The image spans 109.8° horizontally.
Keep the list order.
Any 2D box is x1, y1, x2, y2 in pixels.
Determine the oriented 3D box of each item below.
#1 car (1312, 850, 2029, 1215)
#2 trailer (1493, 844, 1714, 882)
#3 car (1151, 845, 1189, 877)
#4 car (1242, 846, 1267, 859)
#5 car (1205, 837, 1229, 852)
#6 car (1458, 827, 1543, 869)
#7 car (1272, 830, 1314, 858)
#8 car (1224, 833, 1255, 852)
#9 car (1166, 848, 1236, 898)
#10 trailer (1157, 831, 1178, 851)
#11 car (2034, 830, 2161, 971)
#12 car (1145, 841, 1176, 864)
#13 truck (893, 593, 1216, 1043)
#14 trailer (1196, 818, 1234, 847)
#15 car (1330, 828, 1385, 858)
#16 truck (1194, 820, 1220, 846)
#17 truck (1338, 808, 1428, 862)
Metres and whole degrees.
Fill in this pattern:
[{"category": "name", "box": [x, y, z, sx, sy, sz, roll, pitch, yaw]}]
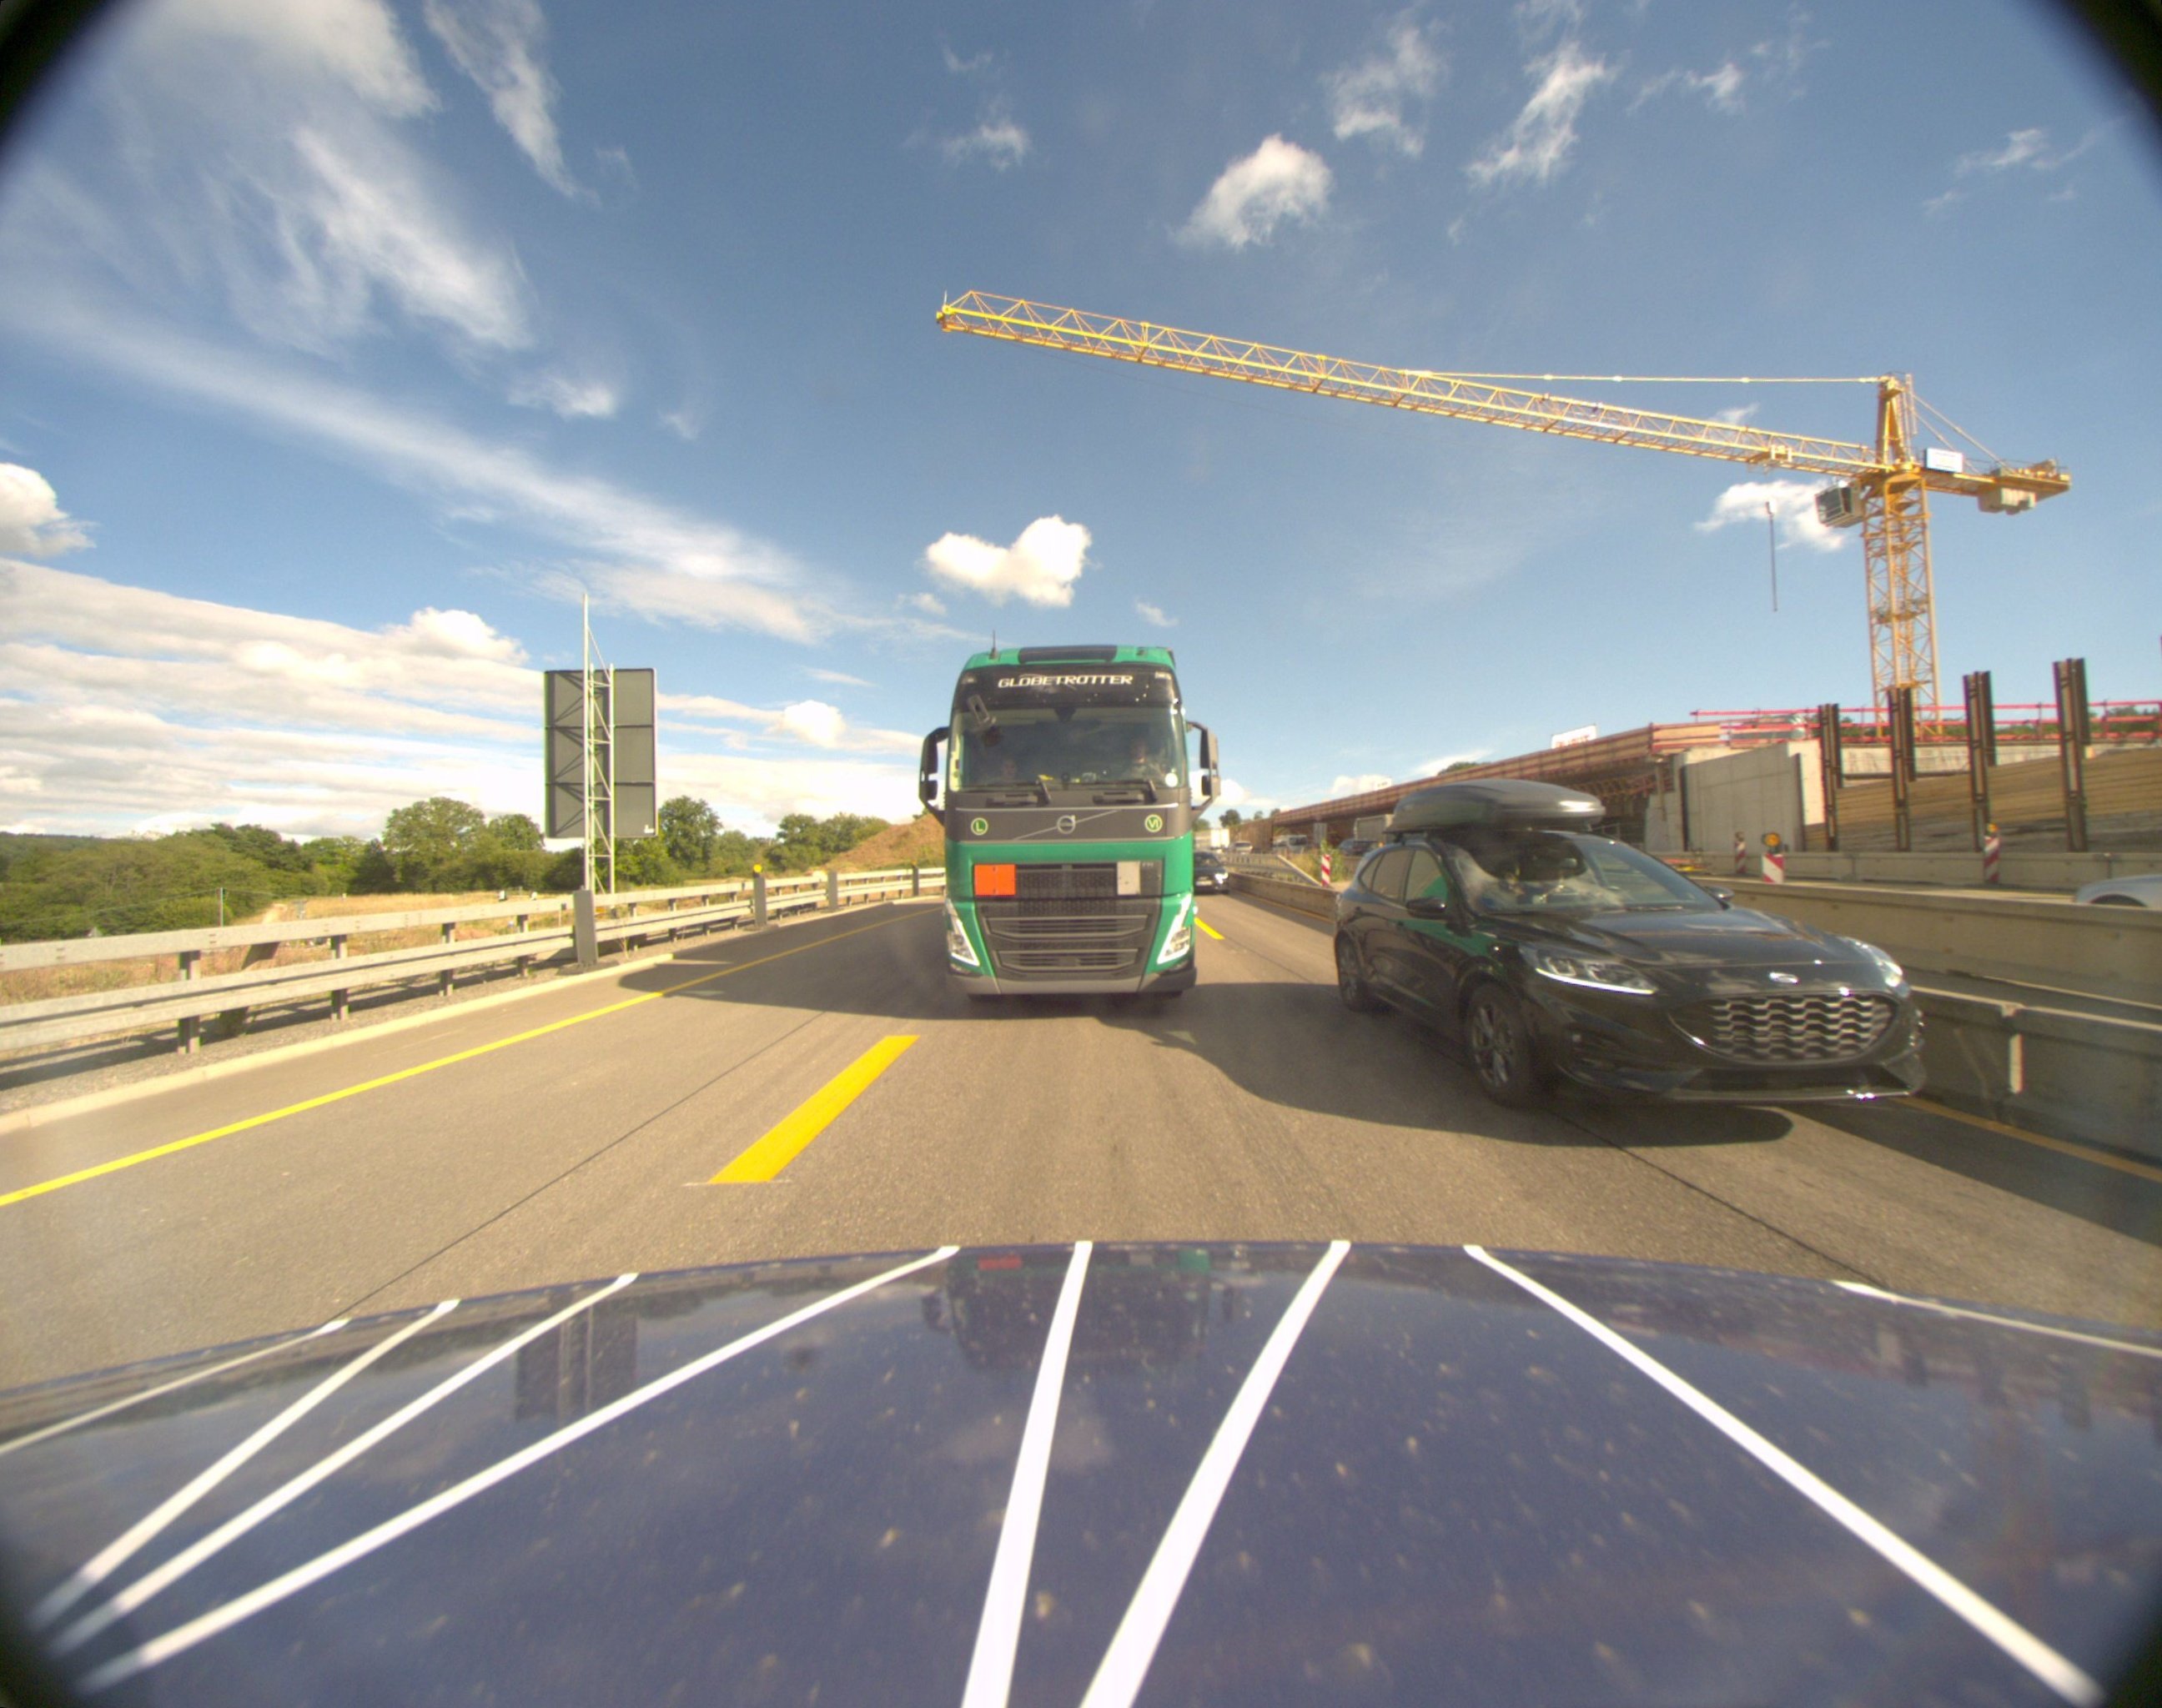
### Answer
[{"category": "car", "box": [3.201, 0.761, 5.461, 1.804, 1.533, 4.384, -1, 1, 1]}, {"category": "trailer", "box": [18.973, 0.221, 28.717, 2.356, 0.934, 10.331, -2, 1, 7]}, {"category": "car", "box": [4.938, 0.362, 42.692, 1.806, 1.555, 4.562, -2, 1, 3]}, {"category": "car", "box": [19.569, -0.194, 85.907, 1.924, 1.265, 3.999, -2, 1, 1]}, {"category": "car", "box": [16.597, -1.184, 93.168, 2.131, 1.664, 4.272, -2, 0, 0]}, {"category": "car", "box": [19.778, -0.347, 36.038, 1.997, 1.794, 4.446, -2, 1, 8]}, {"category": "car", "box": [19.700, -0.973, 71.049, 2.264, 2.389, 5.866, -2, 1, 1]}, {"category": "car", "box": [16.466, -1.143, 78.989, 2.131, 1.755, 5.030, -2, 0, 0]}, {"category": "car", "box": [4.146, 0.594, 26.907, 1.806, 1.448, 4.660, -2, 1, 2]}, {"category": "trailer", "box": [18.988, -2.889, 167.386, 2.694, 4.132, 13.807, -2, 1, 0]}, {"category": "car", "box": [11.909, 0.462, 6.637, 1.856, 1.431, 4.561, -2, 0, 9]}, {"category": "car", "box": [5.894, -0.152, 56.817, 1.806, 1.555, 4.561, -2, 1, 1]}, {"category": "truck", "box": [-0.148, -0.415, 11.804, 2.663, 3.826, 10.315, -2, 1, 1]}, {"category": "trailer", "box": [19.399, -3.105, 110.790, 2.828, 3.820, 13.799, -3, 1, -1]}, {"category": "car", "box": [16.465, -0.622, 45.462, 1.857, 1.626, 4.750, -2, 0, 4]}, {"category": "truck", "box": [19.323, -3.185, 116.888, 2.784, 3.767, 6.016, -3, 1, -1]}, {"category": "truck", "box": [20.059, -1.264, 51.007, 2.708, 3.293, 7.534, -3, 1, -2]}]
